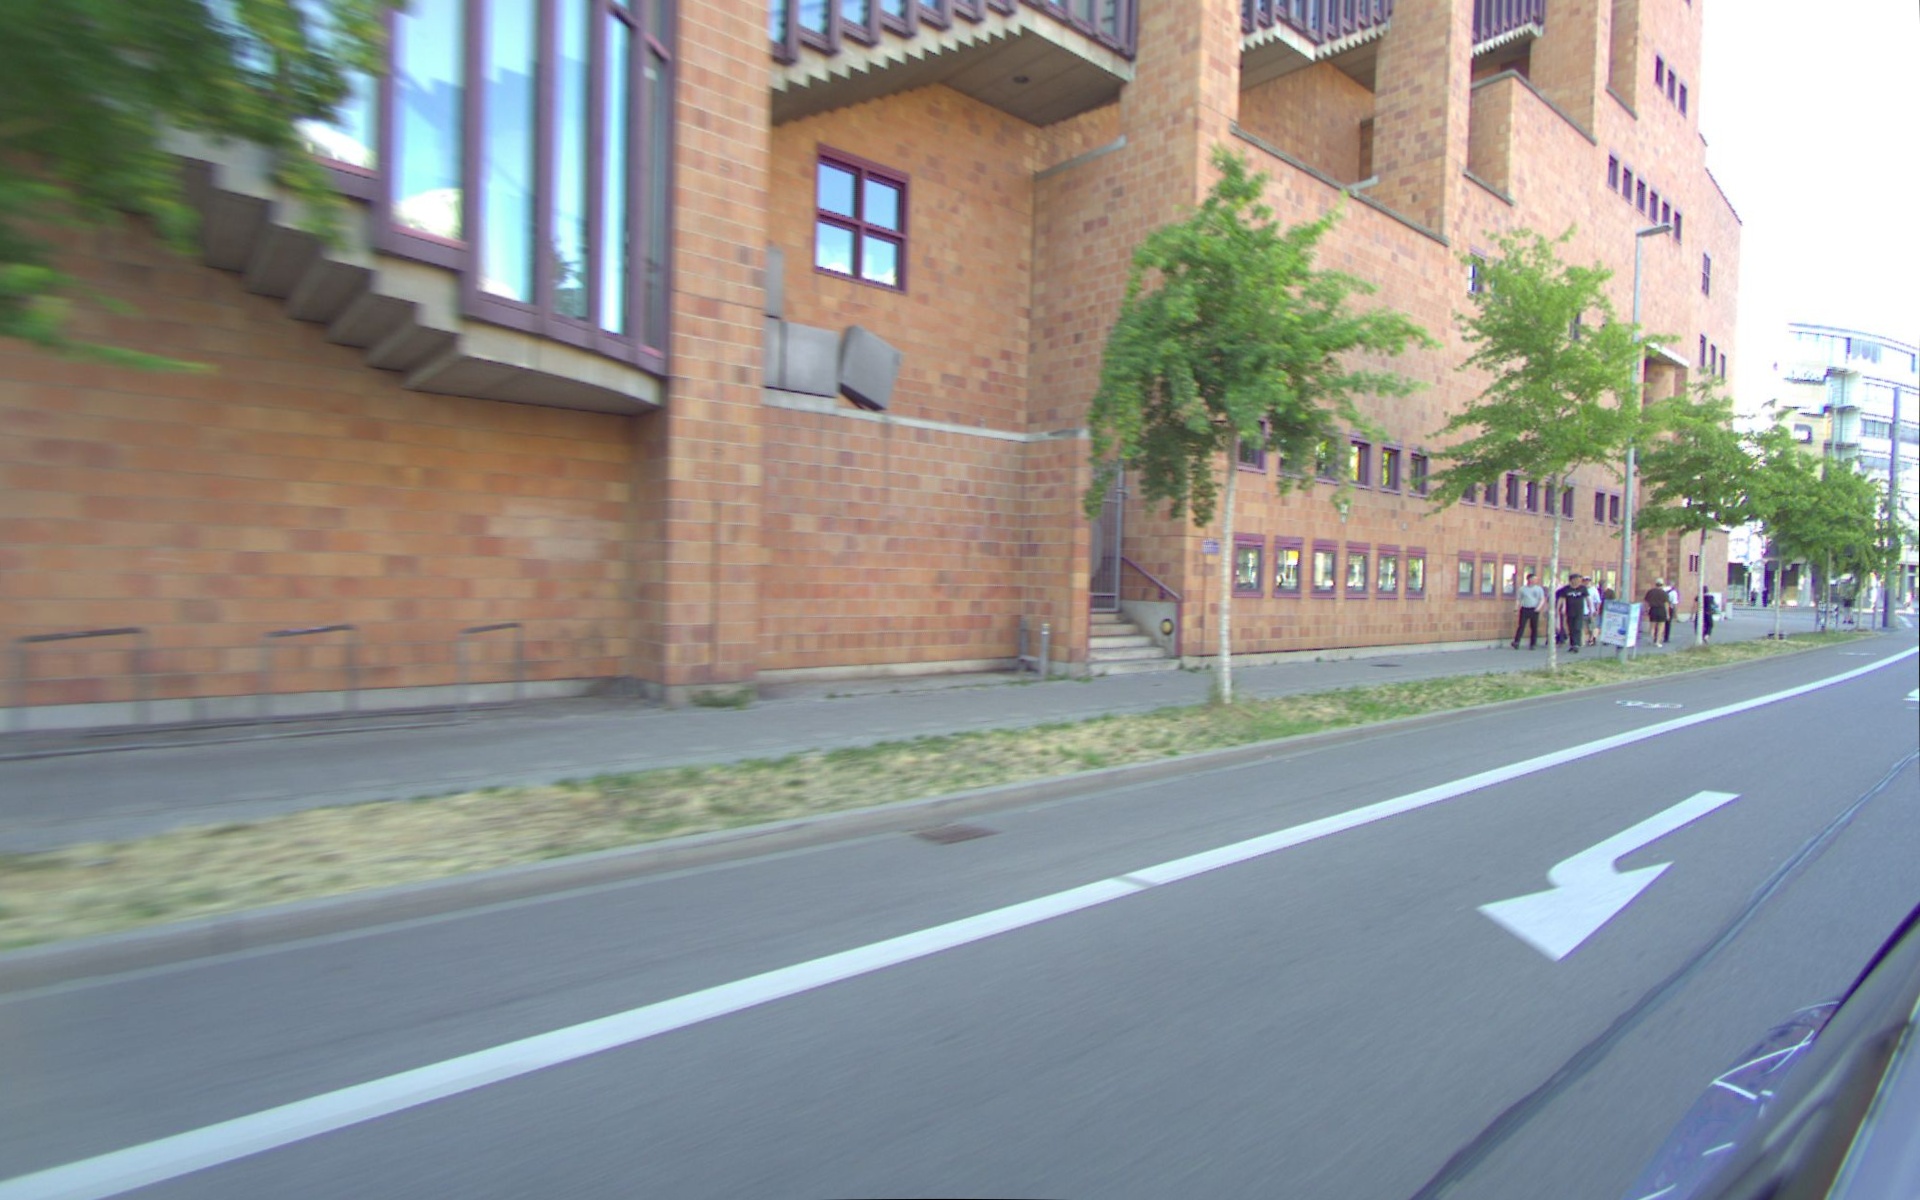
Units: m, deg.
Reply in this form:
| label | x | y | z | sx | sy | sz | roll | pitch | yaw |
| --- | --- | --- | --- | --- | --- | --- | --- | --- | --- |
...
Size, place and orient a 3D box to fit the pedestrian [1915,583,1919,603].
| label | x | y | z | sx | sy | sz | roll | pitch | yaw |
| --- | --- | --- | --- | --- | --- | --- | --- | --- | --- |
| pedestrian | 81.408 | -0.586 | 85.501 | 0.636 | 1.709 | 0.846 | 0 | 2 | -37 |

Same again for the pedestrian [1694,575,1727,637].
| label | x | y | z | sx | sy | sz | roll | pitch | yaw |
| --- | --- | --- | --- | --- | --- | --- | --- | --- | --- |
| pedestrian | 20.301 | 0.143 | 27.379 | 0.512 | 1.625 | 0.699 | 2 | 2 | 23 |

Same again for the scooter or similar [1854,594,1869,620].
| label | x | y | z | sx | sy | sz | roll | pitch | yaw |
| --- | --- | --- | --- | --- | --- | --- | --- | --- | --- |
| scooter or similar | 46.183 | 0.352 | 51.852 | 0.527 | 1.334 | 1.116 | 3 | 2 | 41 |

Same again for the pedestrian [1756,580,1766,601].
| label | x | y | z | sx | sy | sz | roll | pitch | yaw |
| --- | --- | --- | --- | --- | --- | --- | --- | --- | --- |
| pedestrian | 69.382 | -0.822 | 87.699 | 0.586 | 1.846 | 0.537 | 2 | 2 | 36 |

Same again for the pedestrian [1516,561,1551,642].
| label | x | y | z | sx | sy | sz | roll | pitch | yaw |
| --- | --- | --- | --- | --- | --- | --- | --- | --- | --- |
| pedestrian | 12.912 | 0.021 | 22.792 | 0.530 | 1.778 | 0.420 | 2 | 1 | 16 |

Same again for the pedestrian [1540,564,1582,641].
| label | x | y | z | sx | sy | sz | roll | pitch | yaw |
| --- | --- | --- | --- | --- | --- | --- | --- | --- | --- |
| pedestrian | 14.246 | 0.056 | 23.993 | 0.681 | 1.778 | 0.539 | 1 | 2 | -30 |

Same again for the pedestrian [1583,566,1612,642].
| label | x | y | z | sx | sy | sz | roll | pitch | yaw |
| --- | --- | --- | --- | --- | --- | --- | --- | --- | --- |
| pedestrian | 15.277 | 0.083 | 24.252 | 0.534 | 1.778 | 0.687 | 2 | 2 | 33 |

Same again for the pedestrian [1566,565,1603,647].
| label | x | y | z | sx | sy | sz | roll | pitch | yaw |
| --- | --- | --- | --- | --- | --- | --- | --- | --- | --- |
| pedestrian | 13.840 | 0.127 | 22.432 | 0.531 | 1.778 | 0.462 | 2 | 2 | 18 |

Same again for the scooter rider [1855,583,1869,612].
| label | x | y | z | sx | sy | sz | roll | pitch | yaw |
| --- | --- | --- | --- | --- | --- | --- | --- | --- | --- |
| scooter rider | 46.263 | -0.131 | 51.910 | 0.506 | 1.478 | 0.711 | 3 | 2 | 42 |

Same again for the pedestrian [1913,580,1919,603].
| label | x | y | z | sx | sy | sz | roll | pitch | yaw |
| --- | --- | --- | --- | --- | --- | --- | --- | --- | --- |
| pedestrian | 80.830 | -0.706 | 85.031 | 0.687 | 1.865 | 0.965 | 0 | 2 | -41 |

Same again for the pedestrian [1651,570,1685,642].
| label | x | y | z | sx | sy | sz | roll | pitch | yaw |
| --- | --- | --- | --- | --- | --- | --- | --- | --- | --- |
| pedestrian | 17.974 | 0.143 | 25.696 | 0.414 | 1.778 | 0.538 | 0 | 2 | -36 |

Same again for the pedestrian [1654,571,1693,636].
| label | x | y | z | sx | sy | sz | roll | pitch | yaw |
| --- | --- | --- | --- | --- | --- | --- | --- | --- | --- |
| pedestrian | 19.416 | 0.087 | 27.556 | 0.563 | 1.734 | 0.640 | 1 | 2 | 5 |

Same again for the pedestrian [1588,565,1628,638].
| label | x | y | z | sx | sy | sz | roll | pitch | yaw |
| --- | --- | --- | --- | --- | --- | --- | --- | --- | --- |
| pedestrian | 16.219 | 0.020 | 25.348 | 0.731 | 1.778 | 0.686 | 3 | 2 | 38 |

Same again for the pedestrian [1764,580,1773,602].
| label | x | y | z | sx | sy | sz | roll | pitch | yaw |
| --- | --- | --- | --- | --- | --- | --- | --- | --- | --- |
| pedestrian | 69.860 | -0.796 | 87.407 | 0.543 | 1.846 | 0.369 | 2 | 2 | 36 |
